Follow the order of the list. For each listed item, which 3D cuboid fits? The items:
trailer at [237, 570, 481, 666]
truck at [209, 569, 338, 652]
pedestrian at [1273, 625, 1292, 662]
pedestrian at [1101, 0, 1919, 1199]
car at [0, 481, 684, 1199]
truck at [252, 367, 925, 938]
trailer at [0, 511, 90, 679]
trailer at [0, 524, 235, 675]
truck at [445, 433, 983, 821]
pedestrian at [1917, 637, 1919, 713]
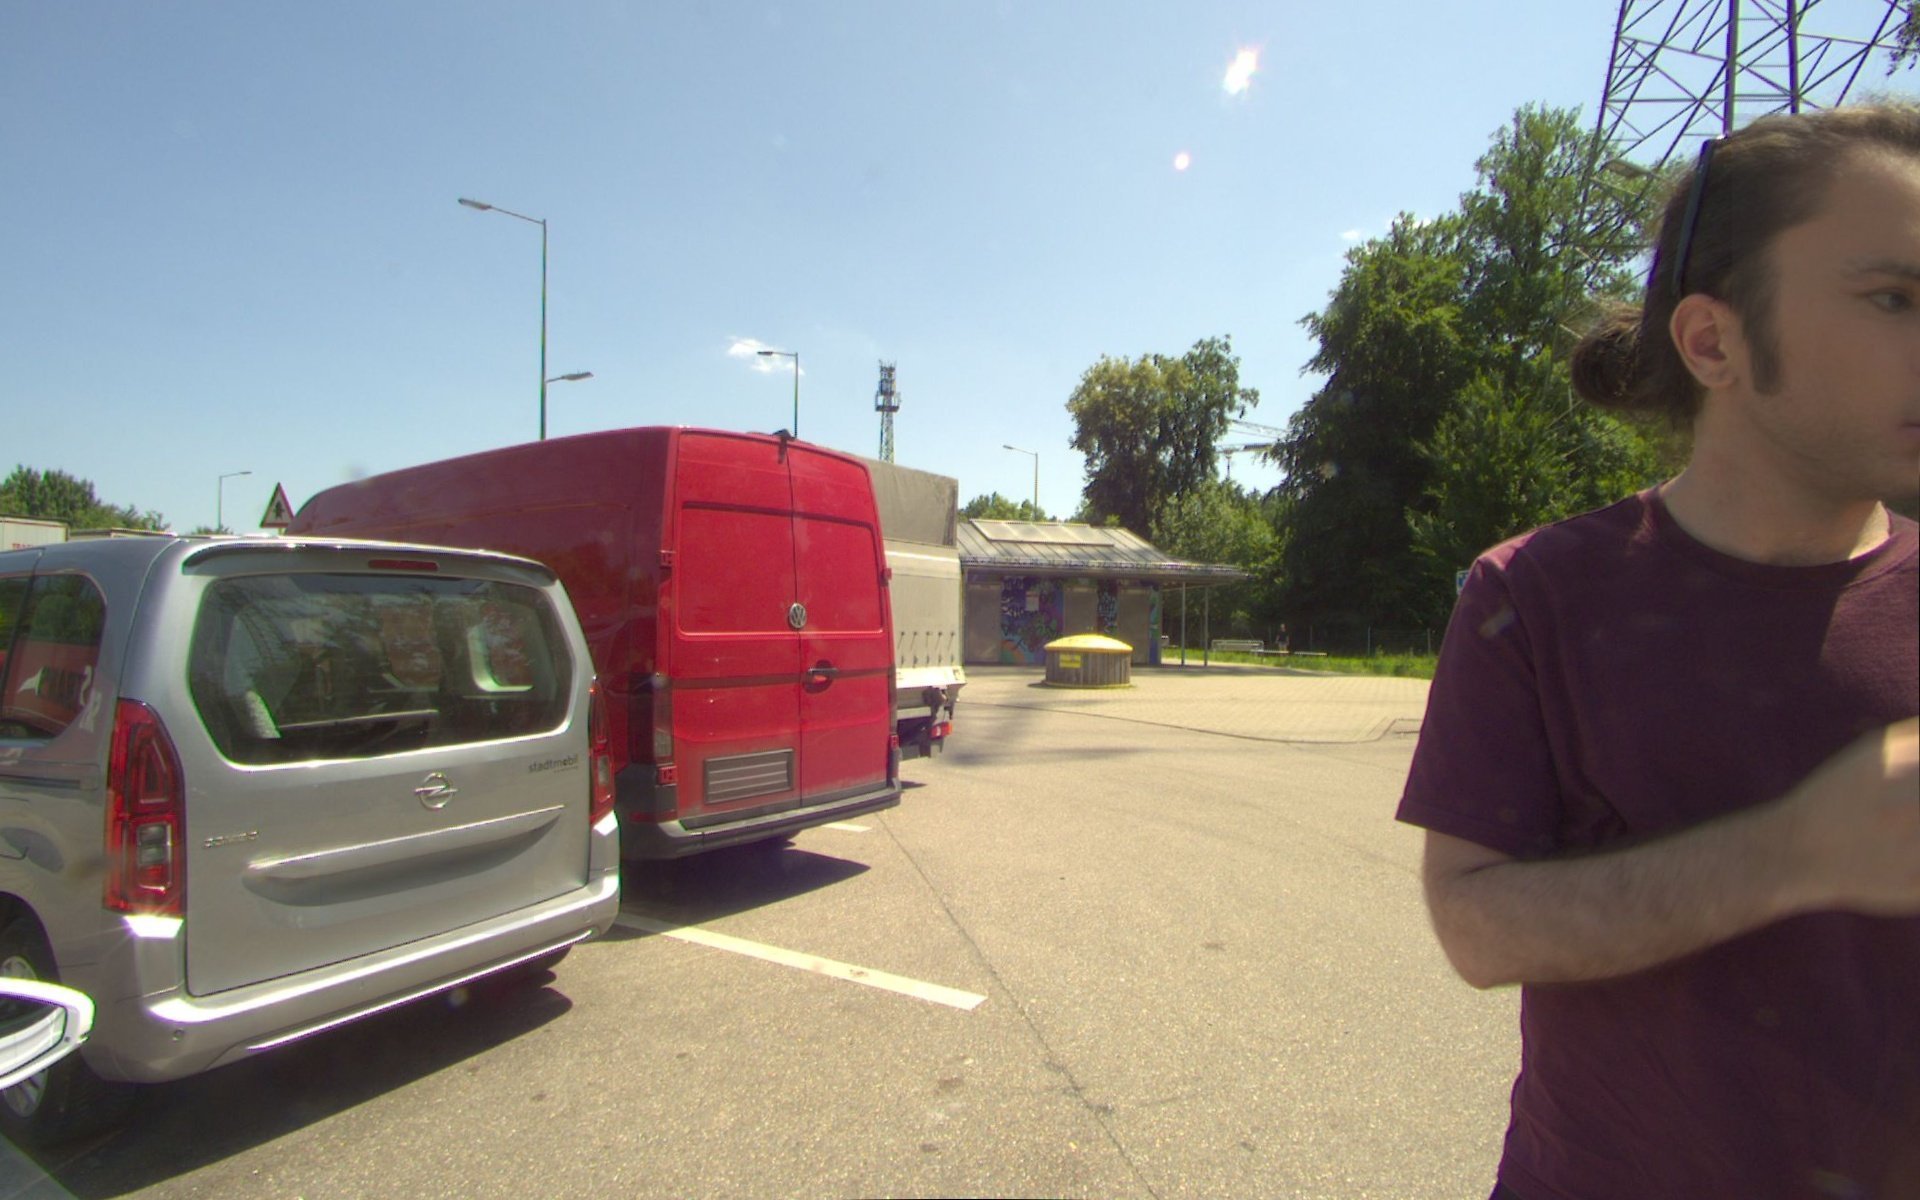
[{"bbox_3d":[-26.088,0.643,42.909,14.184,3.552,2.808,2,-2,33],"label":"trailer"},{"bbox_3d":[-32.082,0.464,46.767,5.813,3.566,2.799,2,-2,33],"label":"truck"},{"bbox_3d":[14.658,1.967,45.545,0.723,1.658,0.792,0,-1,11],"label":"pedestrian"},{"bbox_3d":[0.733,0.490,0.885,0.853,1.857,0.856,1,-1,-33],"label":"pedestrian"},{"bbox_3d":[-3.374,0.686,4.253,4.113,1.887,1.868,1,-2,31],"label":"car"},{"bbox_3d":[-2.881,0.336,7.052,5.238,2.655,1.972,-2,-2,38],"label":"truck"},{"bbox_3d":[-29.006,-0.262,28.148,14.184,4.040,2.808,2,-2,33],"label":"trailer"},{"bbox_3d":[-27.942,-0.104,31.794,14.184,4.040,2.808,2,-2,33],"label":"trailer"},{"bbox_3d":[-2.729,0.304,10.291,5.582,2.949,2.449,-2,-2,37],"label":"truck"},{"bbox_3d":[17.267,1.323,17.480,0.690,1.352,0.561,-1,-1,33],"label":"pedestrian"}]
